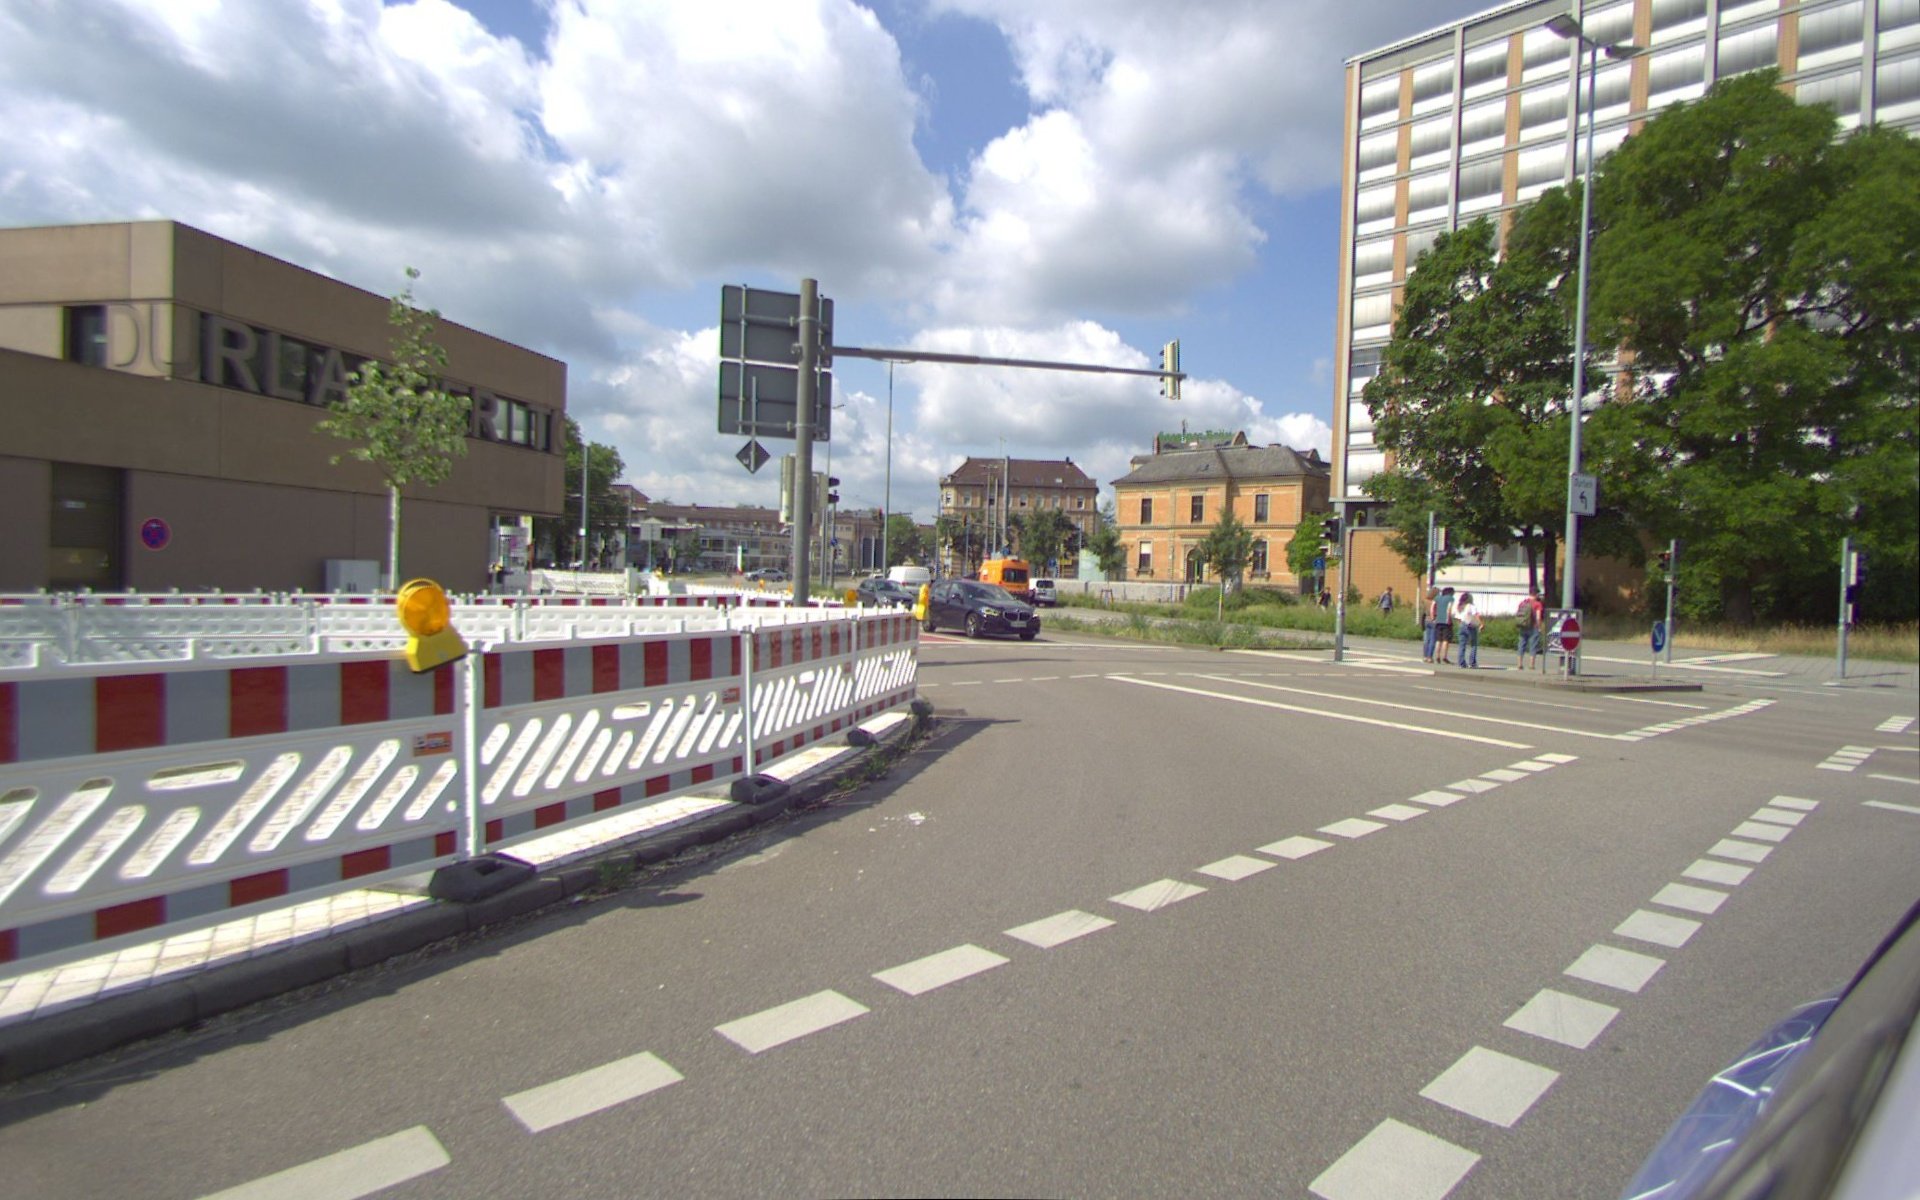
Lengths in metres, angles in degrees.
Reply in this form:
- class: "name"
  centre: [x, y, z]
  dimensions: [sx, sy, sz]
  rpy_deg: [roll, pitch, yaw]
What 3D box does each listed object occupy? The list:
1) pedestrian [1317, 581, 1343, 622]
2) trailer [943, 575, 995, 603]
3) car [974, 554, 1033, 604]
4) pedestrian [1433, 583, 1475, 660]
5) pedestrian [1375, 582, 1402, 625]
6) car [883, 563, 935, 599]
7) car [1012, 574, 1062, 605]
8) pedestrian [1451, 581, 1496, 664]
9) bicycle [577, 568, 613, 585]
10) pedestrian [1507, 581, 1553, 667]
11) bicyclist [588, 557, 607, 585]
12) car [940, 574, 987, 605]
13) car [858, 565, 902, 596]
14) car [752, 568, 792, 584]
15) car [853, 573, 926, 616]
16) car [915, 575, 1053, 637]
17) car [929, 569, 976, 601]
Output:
- class: "pedestrian"
  centre: [16.675, 0.066, 45.597]
  dimensions: [0.774, 1.806, 0.668]
  rpy_deg: [1, 1, -17]
- class: "trailer"
  centre: [0.487, -0.648, 57.895]
  dimensions: [1.958, 1.495, 4.009]
  rpy_deg: [1, 2, -14]
- class: "car"
  centre: [2.551, -1.275, 60.507]
  dimensions: [2.092, 2.815, 4.650]
  rpy_deg: [1, 2, -16]
- class: "pedestrian"
  centre: [11.143, 0.480, 22.832]
  dimensions: [0.516, 1.705, 0.624]
  rpy_deg: [1, 1, -30]
- class: "pedestrian"
  centre: [18.385, 0.163, 43.435]
  dimensions: [0.774, 1.806, 0.668]
  rpy_deg: [1, 1, -19]
- class: "car"
  centre: [-2.978, -1.129, 58.499]
  dimensions: [1.970, 1.991, 4.650]
  rpy_deg: [1, 2, -16]
- class: "car"
  centre: [4.772, -0.700, 63.383]
  dimensions: [1.958, 1.817, 4.009]
  rpy_deg: [1, 2, -14]
- class: "pedestrian"
  centre: [11.082, 0.481, 21.834]
  dimensions: [0.516, 1.755, 0.624]
  rpy_deg: [1, 1, -30]
- class: "bicycle"
  centre: [-25.877, -1.658, 71.739]
  dimensions: [2.336, 1.080, 0.860]
  rpy_deg: [1, 1, -19]
- class: "pedestrian"
  centre: [12.062, 0.500, 21.416]
  dimensions: [0.516, 1.755, 0.624]
  rpy_deg: [1, 1, -30]
- class: "bicyclist"
  centre: [-25.694, -2.081, 71.795]
  dimensions: [1.197, 1.933, 0.860]
  rpy_deg: [1, 1, -19]
- class: "car"
  centre: [0.207, -0.761, 68.843]
  dimensions: [1.956, 1.962, 4.650]
  rpy_deg: [1, 2, -16]
- class: "car"
  centre: [-5.294, -1.301, 66.289]
  dimensions: [1.956, 1.962, 4.650]
  rpy_deg: [1, 2, -16]
- class: "car"
  centre: [-20.239, -2.603, 109.099]
  dimensions: [3.925, 1.660, 1.729]
  rpy_deg: [0, 2, -36]
- class: "car"
  centre: [-2.916, -0.245, 40.925]
  dimensions: [1.632, 1.498, 4.070]
  rpy_deg: [4, 0, -23]
- class: "car"
  centre: [0.529, 0.118, 26.304]
  dimensions: [1.761, 1.405, 4.234]
  rpy_deg: [2, 1, -27]
- class: "car"
  centre: [-0.498, -0.925, 61.591]
  dimensions: [1.958, 1.849, 4.009]
  rpy_deg: [1, 2, -14]
